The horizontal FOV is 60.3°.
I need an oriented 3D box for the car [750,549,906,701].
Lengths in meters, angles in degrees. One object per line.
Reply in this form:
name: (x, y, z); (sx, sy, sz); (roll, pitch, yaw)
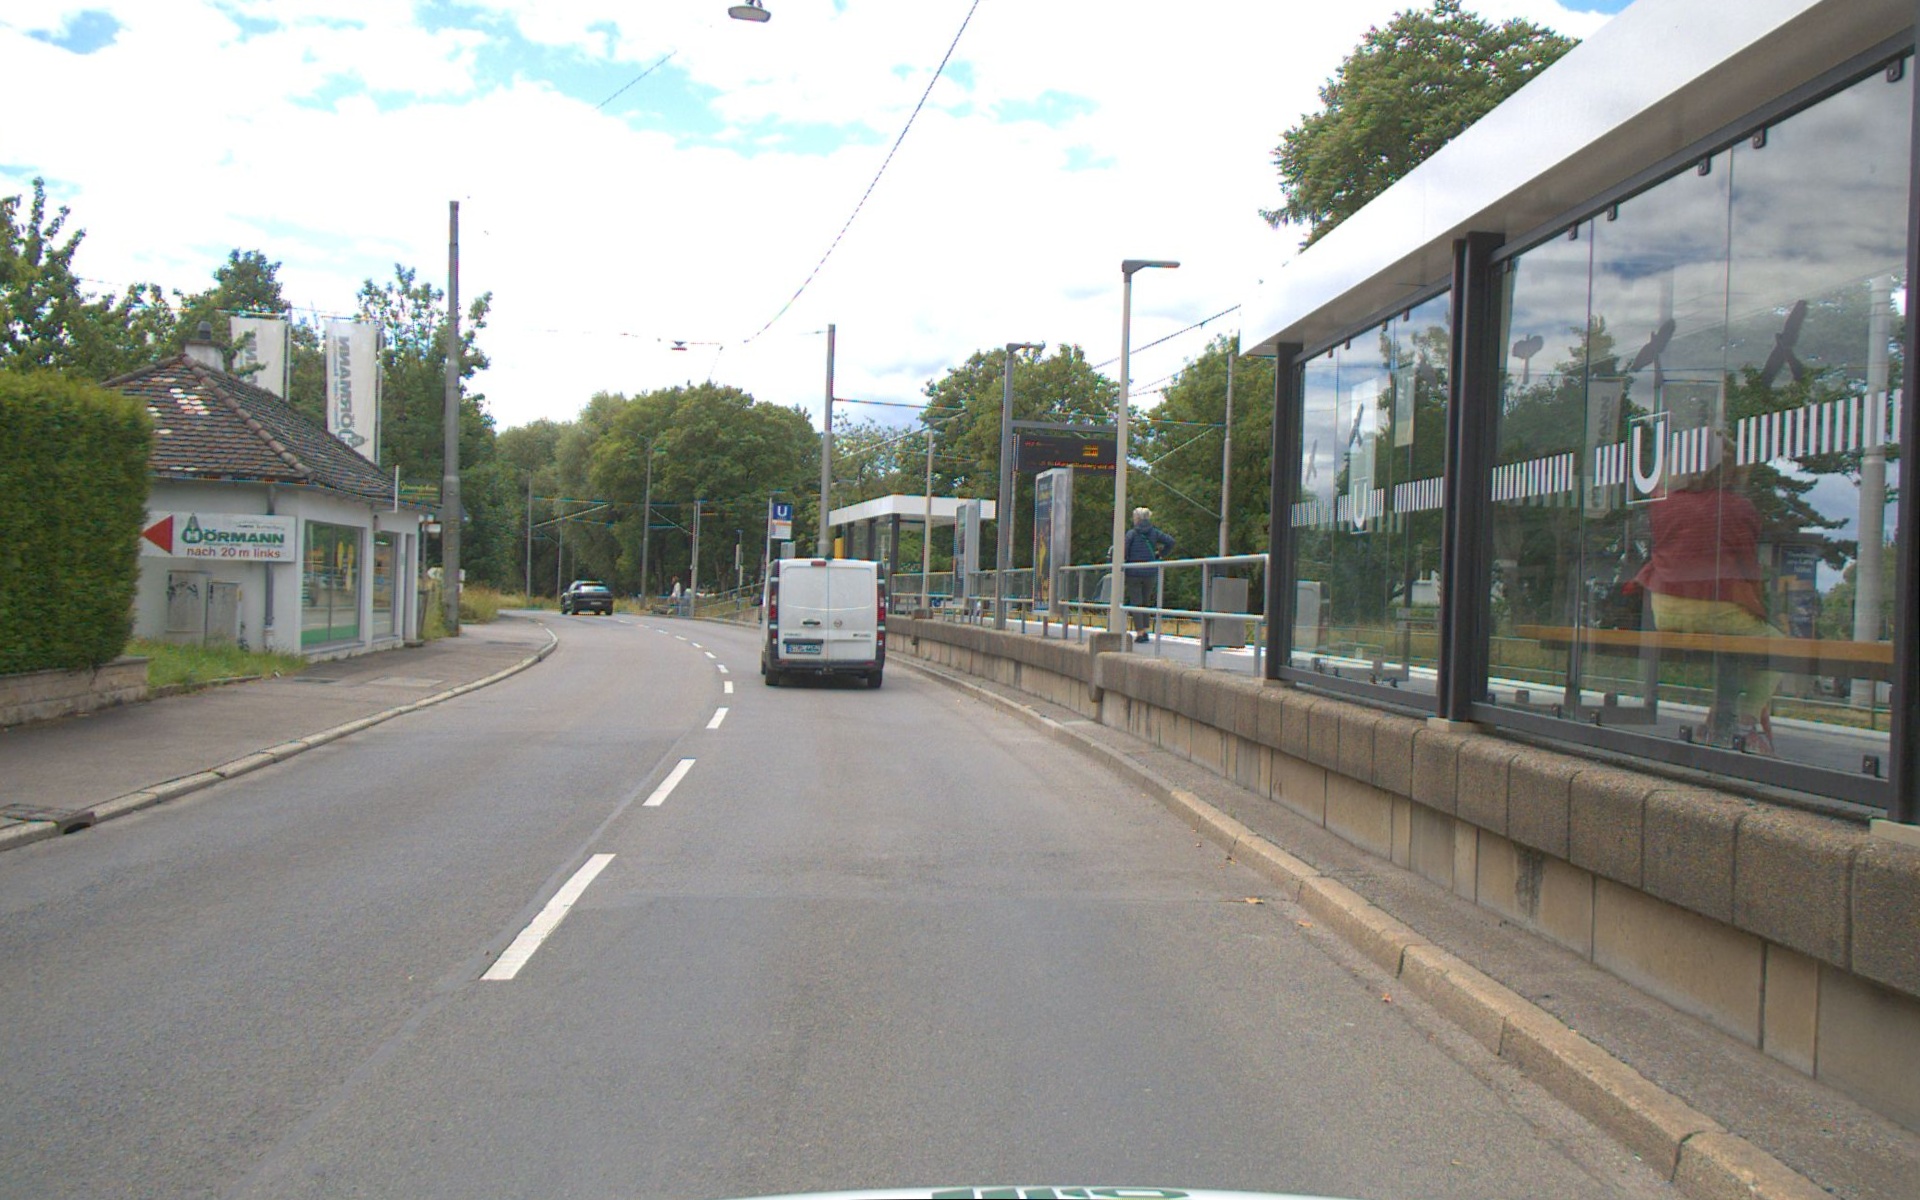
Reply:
car: (-2.302, 0.353, 27.349); (2.078, 2.171, 5.430); (3, 0, -9)

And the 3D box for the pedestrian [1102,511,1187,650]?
pedestrian: (2.334, -0.247, 21.063); (0.868, 1.700, 0.909); (2, 0, -5)

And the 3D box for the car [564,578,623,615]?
car: (-17.829, -0.173, 80.313); (2.319, 1.591, 4.349); (4, -1, -19)

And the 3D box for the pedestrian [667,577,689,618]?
pedestrian: (-12.909, -0.117, 75.781); (0.753, 1.826, 0.622); (2, 0, -39)

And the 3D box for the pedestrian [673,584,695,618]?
pedestrian: (-12.412, 0.045, 74.395); (0.753, 1.518, 0.622); (2, 0, -39)

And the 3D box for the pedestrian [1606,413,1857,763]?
pedestrian: (3.102, -0.043, 6.702); (0.608, 1.321, 0.719); (2, 0, -6)
